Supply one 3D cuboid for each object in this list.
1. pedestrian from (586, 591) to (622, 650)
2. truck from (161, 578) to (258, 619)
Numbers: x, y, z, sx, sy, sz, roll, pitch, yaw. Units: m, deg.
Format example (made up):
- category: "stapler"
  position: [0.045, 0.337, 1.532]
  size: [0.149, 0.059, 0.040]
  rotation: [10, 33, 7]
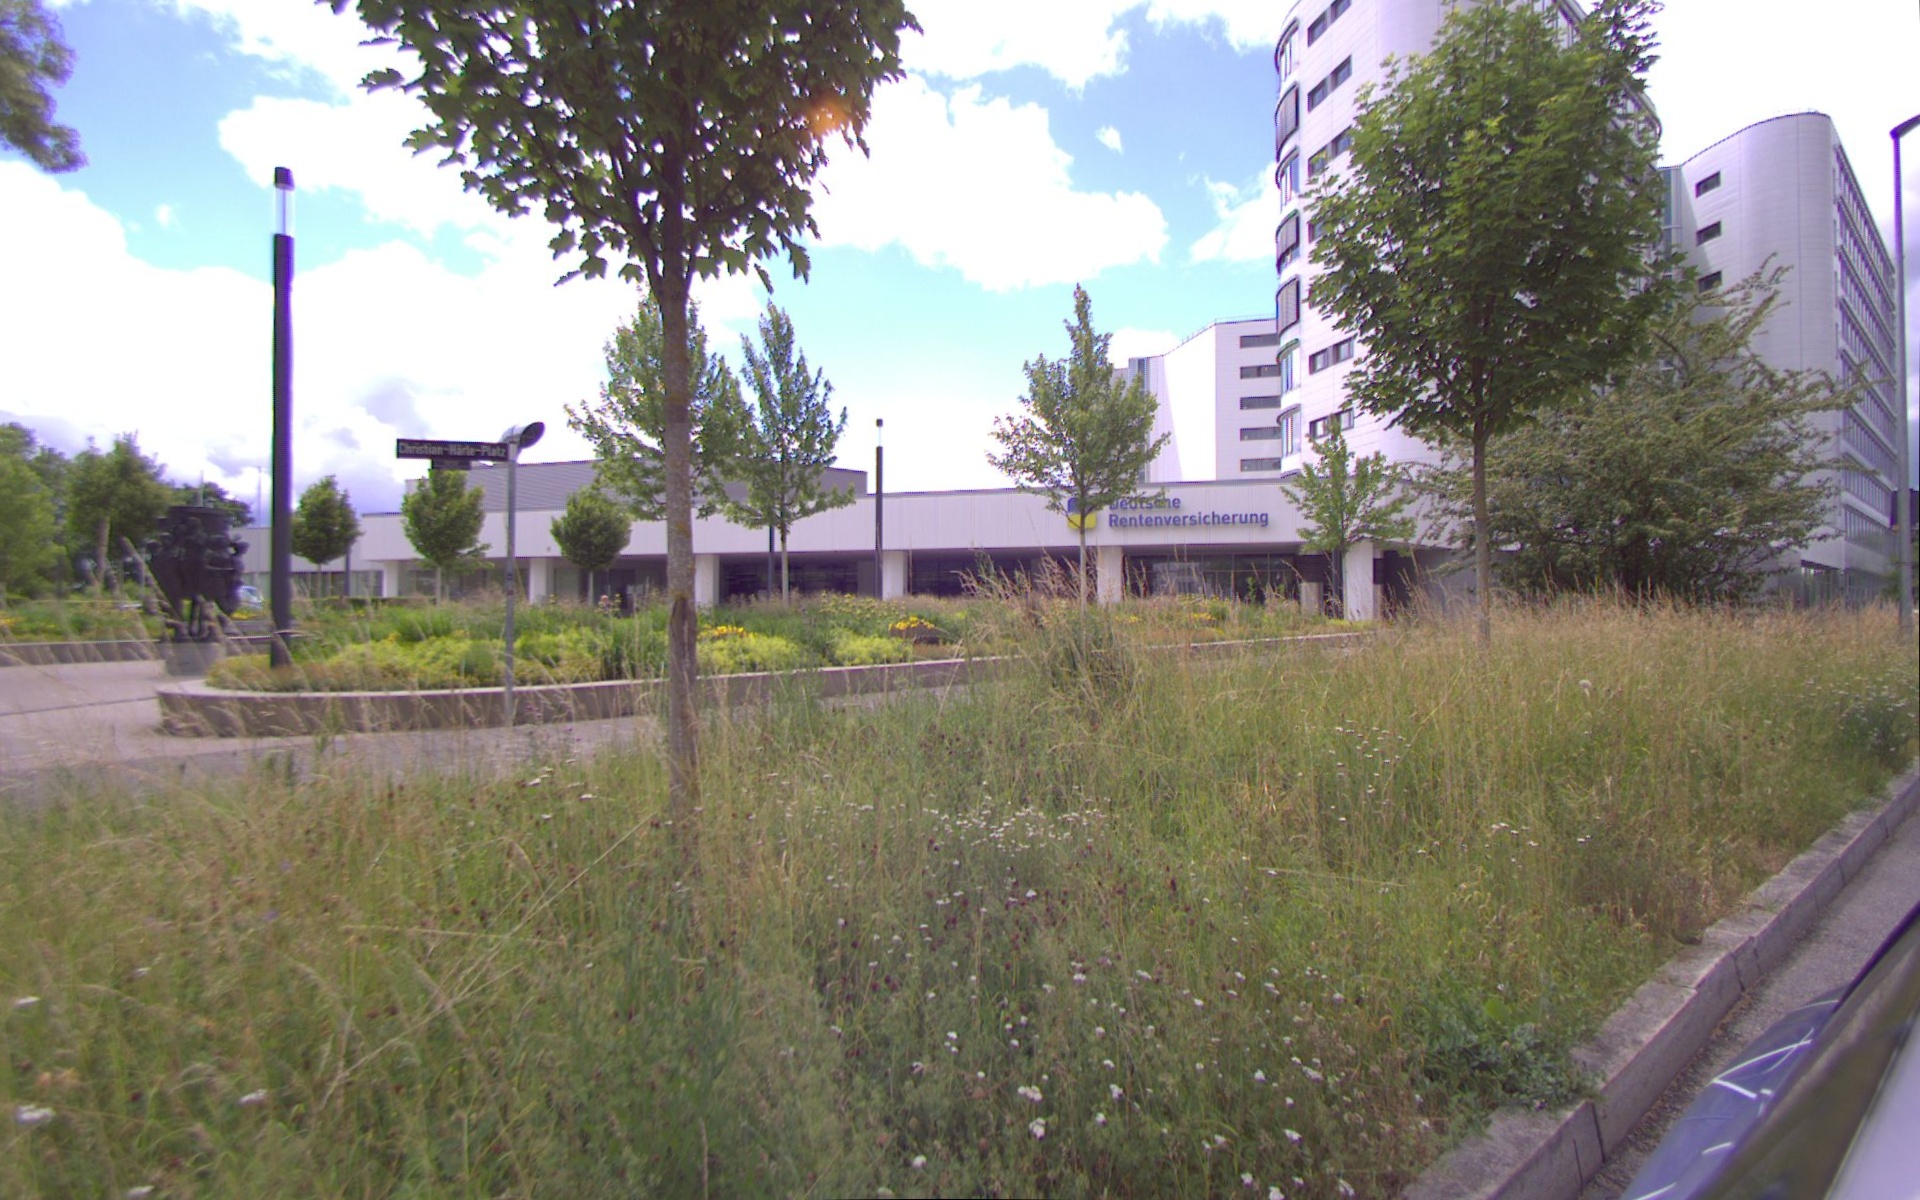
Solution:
- category: "pedestrian"
  position: [-10.003, 0.565, 28.454]
  size: [0.757, 1.646, 0.765]
  rotation: [0, 0, -3]
- category: "truck"
  position: [-38.339, -0.114, 51.729]
  size: [3.941, 2.039, 1.991]
  rotation: [0, 0, 14]
